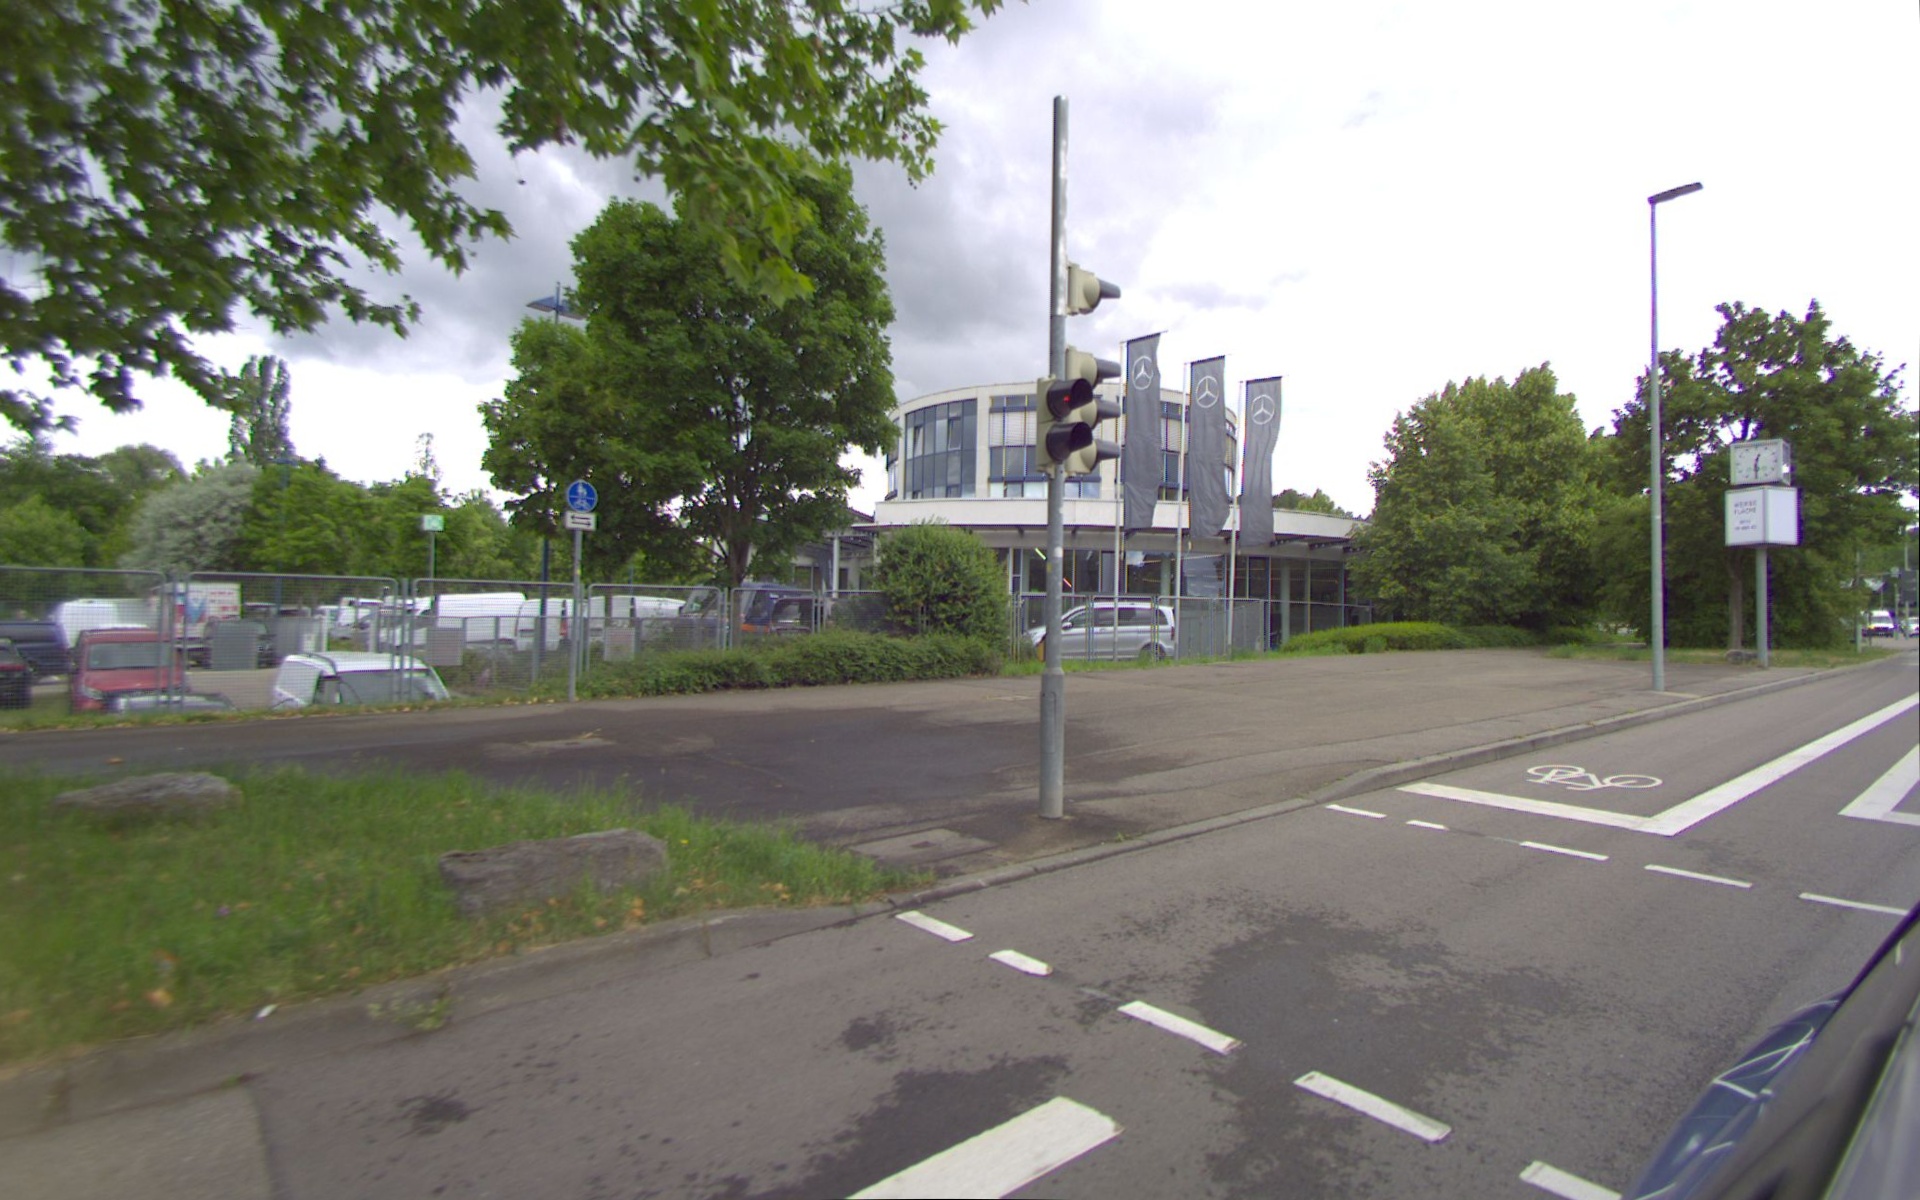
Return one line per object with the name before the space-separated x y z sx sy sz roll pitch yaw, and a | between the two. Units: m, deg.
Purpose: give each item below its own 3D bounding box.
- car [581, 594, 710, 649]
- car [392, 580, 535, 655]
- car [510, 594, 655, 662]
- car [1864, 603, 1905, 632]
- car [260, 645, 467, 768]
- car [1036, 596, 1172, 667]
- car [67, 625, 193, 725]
car | -8.271 0.542 26.934 1.604 1.367 3.578 0 -1 16
car | -18.969 0.622 38.747 4.357 2.356 1.993 -4 -6 -45
car | -10.395 0.737 28.113 1.614 1.779 3.556 0 -1 31
car | 91.641 1.760 100.379 2.214 2.693 5.881 -2 -3 36
car | -9.972 1.635 16.810 3.986 1.638 1.968 -1 -1 44
car | 4.340 0.924 30.538 3.935 2.051 1.994 0 -1 10
car | -18.164 1.530 22.105 1.965 1.906 3.993 1 -1 -41
